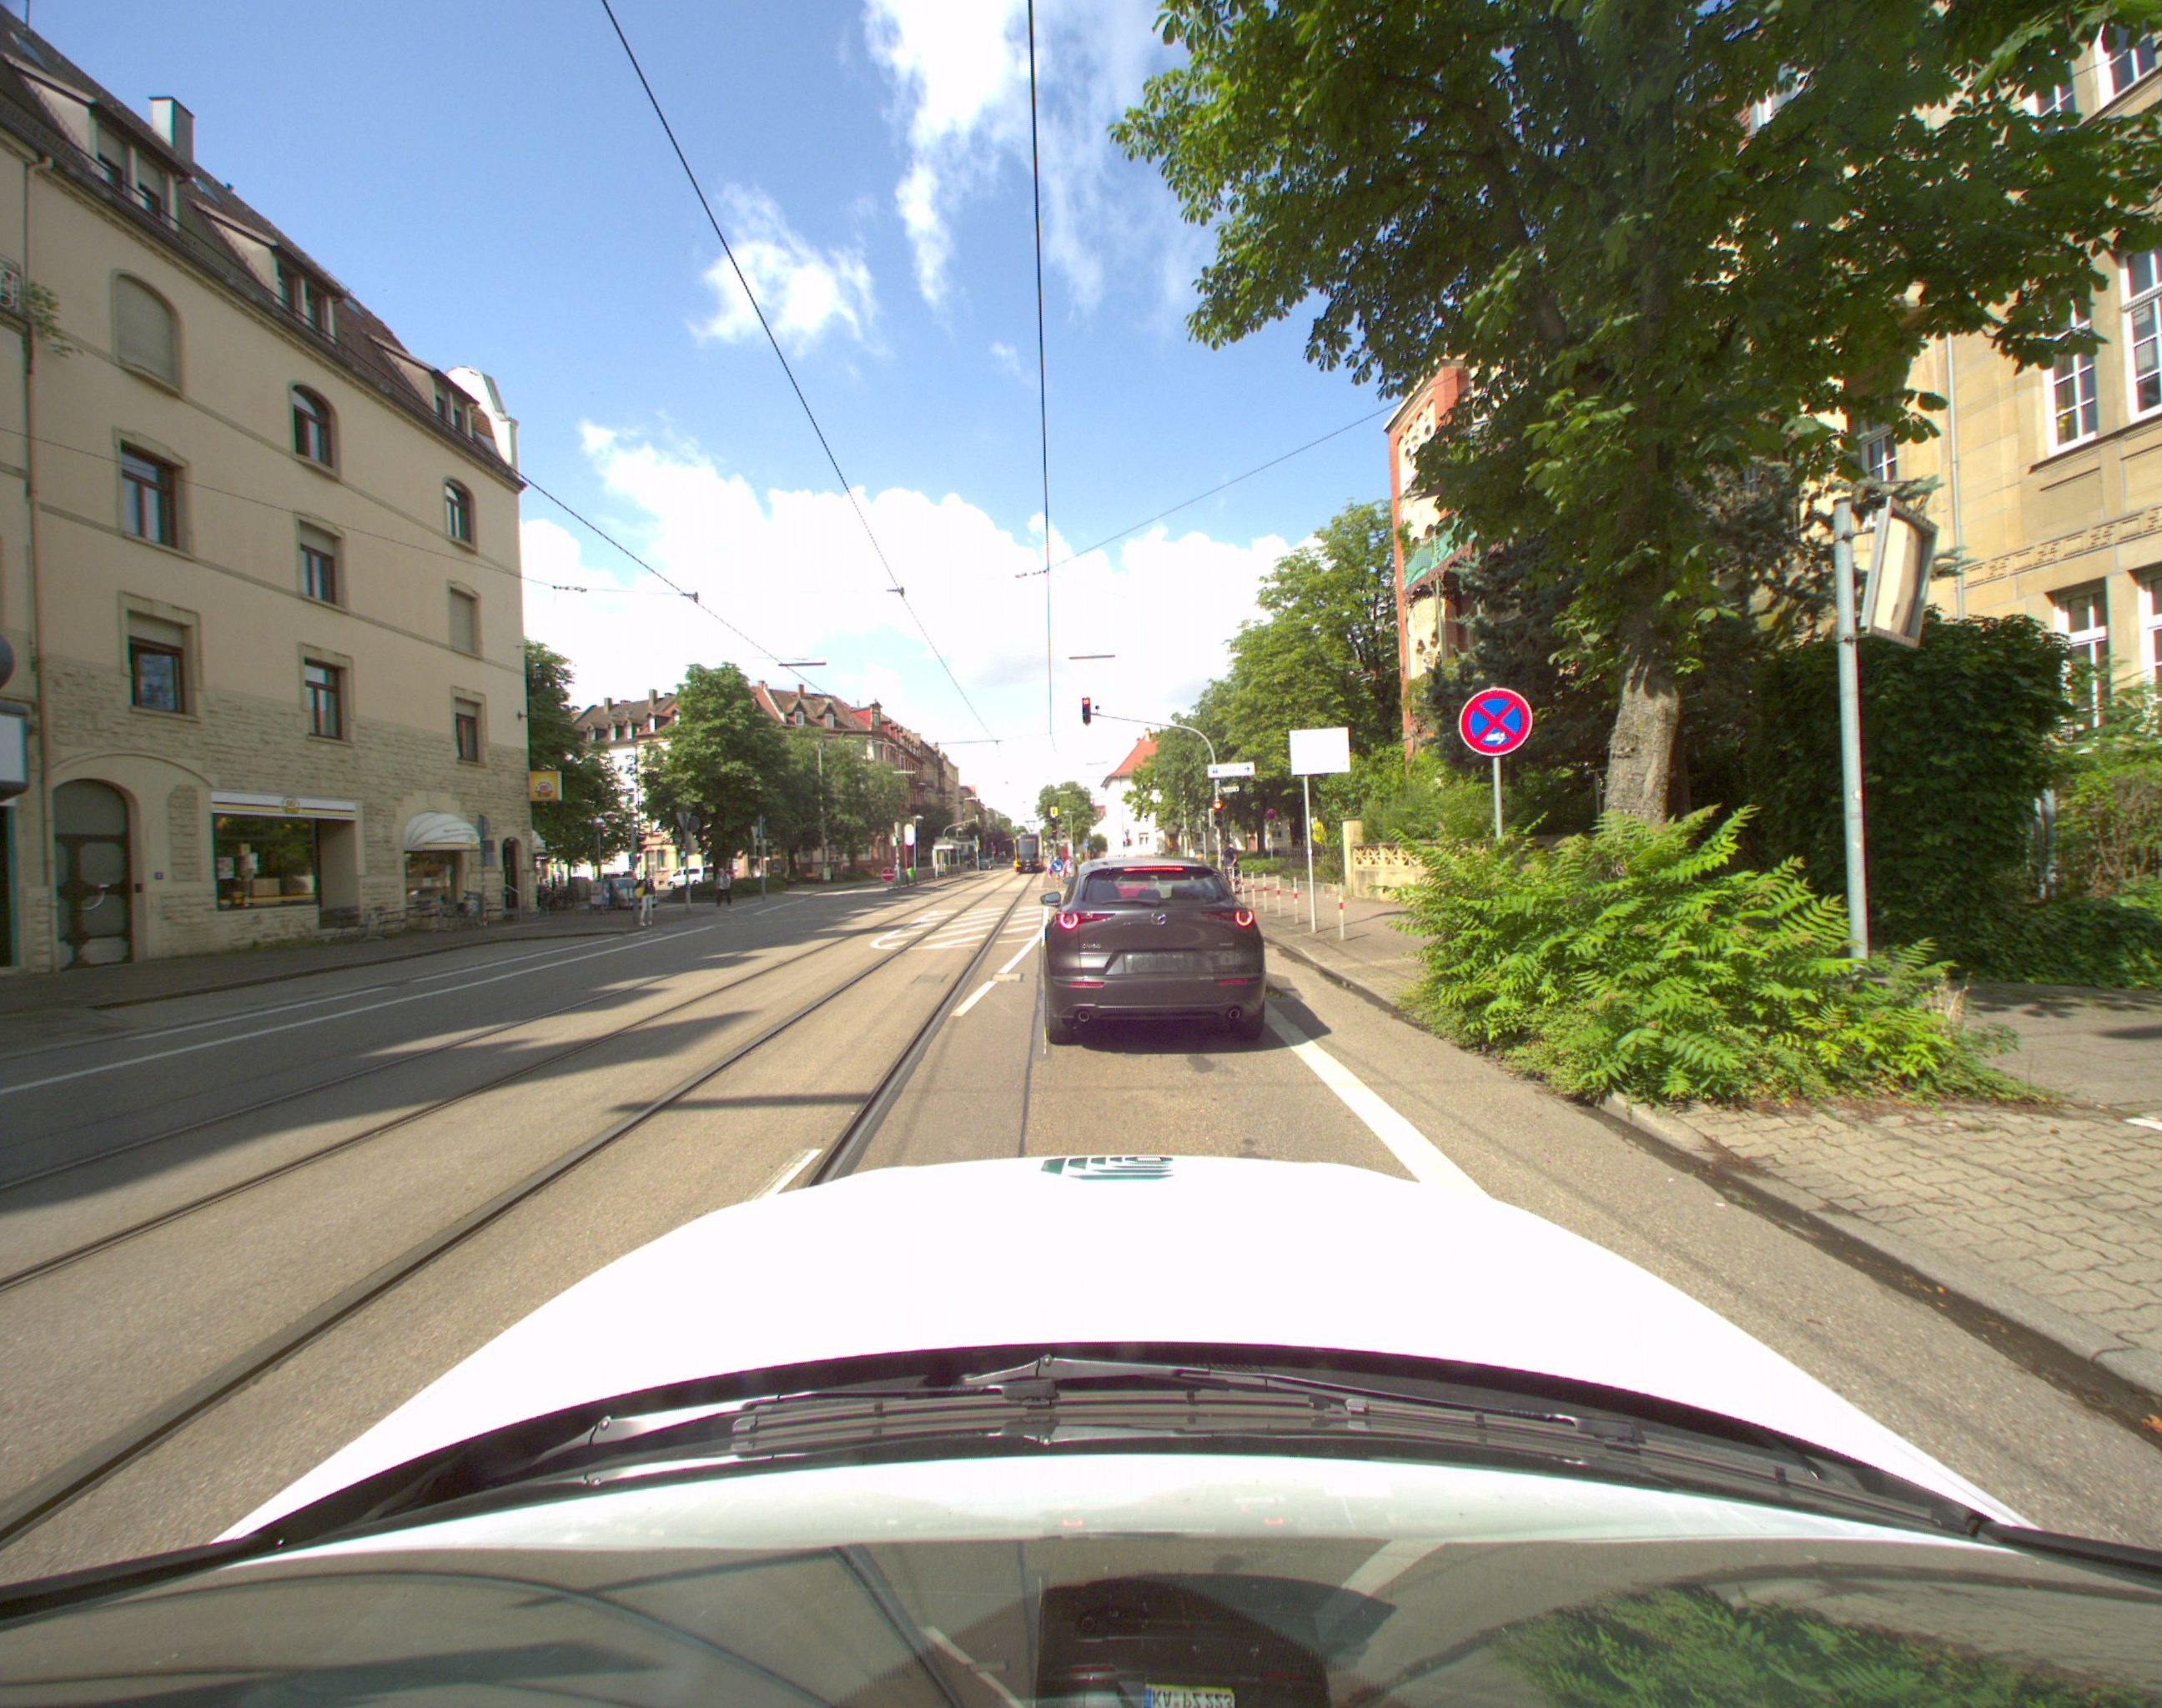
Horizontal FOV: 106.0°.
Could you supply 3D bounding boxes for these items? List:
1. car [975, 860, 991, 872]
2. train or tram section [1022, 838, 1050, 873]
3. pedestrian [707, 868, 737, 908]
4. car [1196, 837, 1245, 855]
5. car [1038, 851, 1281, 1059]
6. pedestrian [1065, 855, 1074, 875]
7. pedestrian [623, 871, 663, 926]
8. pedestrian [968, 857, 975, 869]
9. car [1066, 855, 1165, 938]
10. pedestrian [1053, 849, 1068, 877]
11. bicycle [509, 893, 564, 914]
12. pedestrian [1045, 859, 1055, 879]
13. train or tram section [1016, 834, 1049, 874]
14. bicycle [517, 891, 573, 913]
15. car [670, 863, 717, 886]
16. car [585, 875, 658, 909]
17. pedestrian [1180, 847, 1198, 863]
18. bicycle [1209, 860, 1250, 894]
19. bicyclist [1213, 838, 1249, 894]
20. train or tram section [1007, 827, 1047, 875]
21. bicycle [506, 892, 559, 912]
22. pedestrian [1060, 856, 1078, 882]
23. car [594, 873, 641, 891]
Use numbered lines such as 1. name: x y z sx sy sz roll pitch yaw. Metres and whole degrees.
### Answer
1. car: -12.383 1.468 102.895 1.620 1.387 3.434 -4 0 -1
2. train or tram section: -5.579 0.302 104.124 2.989 3.983 13.799 -3 -1 -2
3. pedestrian: -15.691 1.466 35.636 0.852 1.672 0.822 -3 0 -1
4. car: 13.384 -0.731 78.248 4.118 1.509 1.864 -3 1 40
5. car: 0.613 0.756 7.984 1.776 1.514 4.000 0 0 1
6. pedestrian: -0.666 0.648 46.561 0.441 1.114 0.642 -3 0 -4
7. pedestrian: -13.895 1.395 25.848 0.754 1.704 0.873 2 0 -3
8. pedestrian: -15.963 1.286 118.975 0.785 1.688 0.732 -3 0 -1
9. car: 0.611 0.773 16.602 1.770 1.464 3.841 -1 0 -1
10. pedestrian: -1.168 0.504 46.131 0.727 1.565 0.797 -3 0 -7
11. bicycle: -25.340 2.300 37.922 0.505 0.882 2.043 -3 -2 44
12. pedestrian: -1.774 0.862 46.338 0.421 1.108 0.438 -5 0 -5
13. train or tram section: -5.266 0.114 90.423 2.989 3.983 13.799 -3 -1 -2
14. bicycle: -24.353 2.188 37.030 0.516 0.882 2.043 -3 -2 44
15. car: -37.234 1.942 78.275 3.901 1.988 1.866 -2 0 21
16. car: -21.301 1.743 37.722 3.823 1.420 1.732 -3 0 41
17. pedestrian: 8.724 0.080 65.858 1.191 1.269 0.556 -5 0 -7
18. bicycle: 4.942 0.750 27.003 0.385 1.035 1.857 -3 0 42
19. bicyclist: 4.941 0.393 26.862 0.736 1.819 0.814 -3 0 -25
20. train or tram section: -4.903 -0.113 76.638 2.989 3.983 13.799 -3 -1 -2
21. bicycle: -26.142 2.279 38.850 0.505 0.882 2.043 -3 -2 44
22. pedestrian: -0.624 0.809 43.275 0.711 1.303 0.830 -5 0 8
23. car: -46.469 2.814 81.642 3.895 1.663 1.926 -3 0 20
